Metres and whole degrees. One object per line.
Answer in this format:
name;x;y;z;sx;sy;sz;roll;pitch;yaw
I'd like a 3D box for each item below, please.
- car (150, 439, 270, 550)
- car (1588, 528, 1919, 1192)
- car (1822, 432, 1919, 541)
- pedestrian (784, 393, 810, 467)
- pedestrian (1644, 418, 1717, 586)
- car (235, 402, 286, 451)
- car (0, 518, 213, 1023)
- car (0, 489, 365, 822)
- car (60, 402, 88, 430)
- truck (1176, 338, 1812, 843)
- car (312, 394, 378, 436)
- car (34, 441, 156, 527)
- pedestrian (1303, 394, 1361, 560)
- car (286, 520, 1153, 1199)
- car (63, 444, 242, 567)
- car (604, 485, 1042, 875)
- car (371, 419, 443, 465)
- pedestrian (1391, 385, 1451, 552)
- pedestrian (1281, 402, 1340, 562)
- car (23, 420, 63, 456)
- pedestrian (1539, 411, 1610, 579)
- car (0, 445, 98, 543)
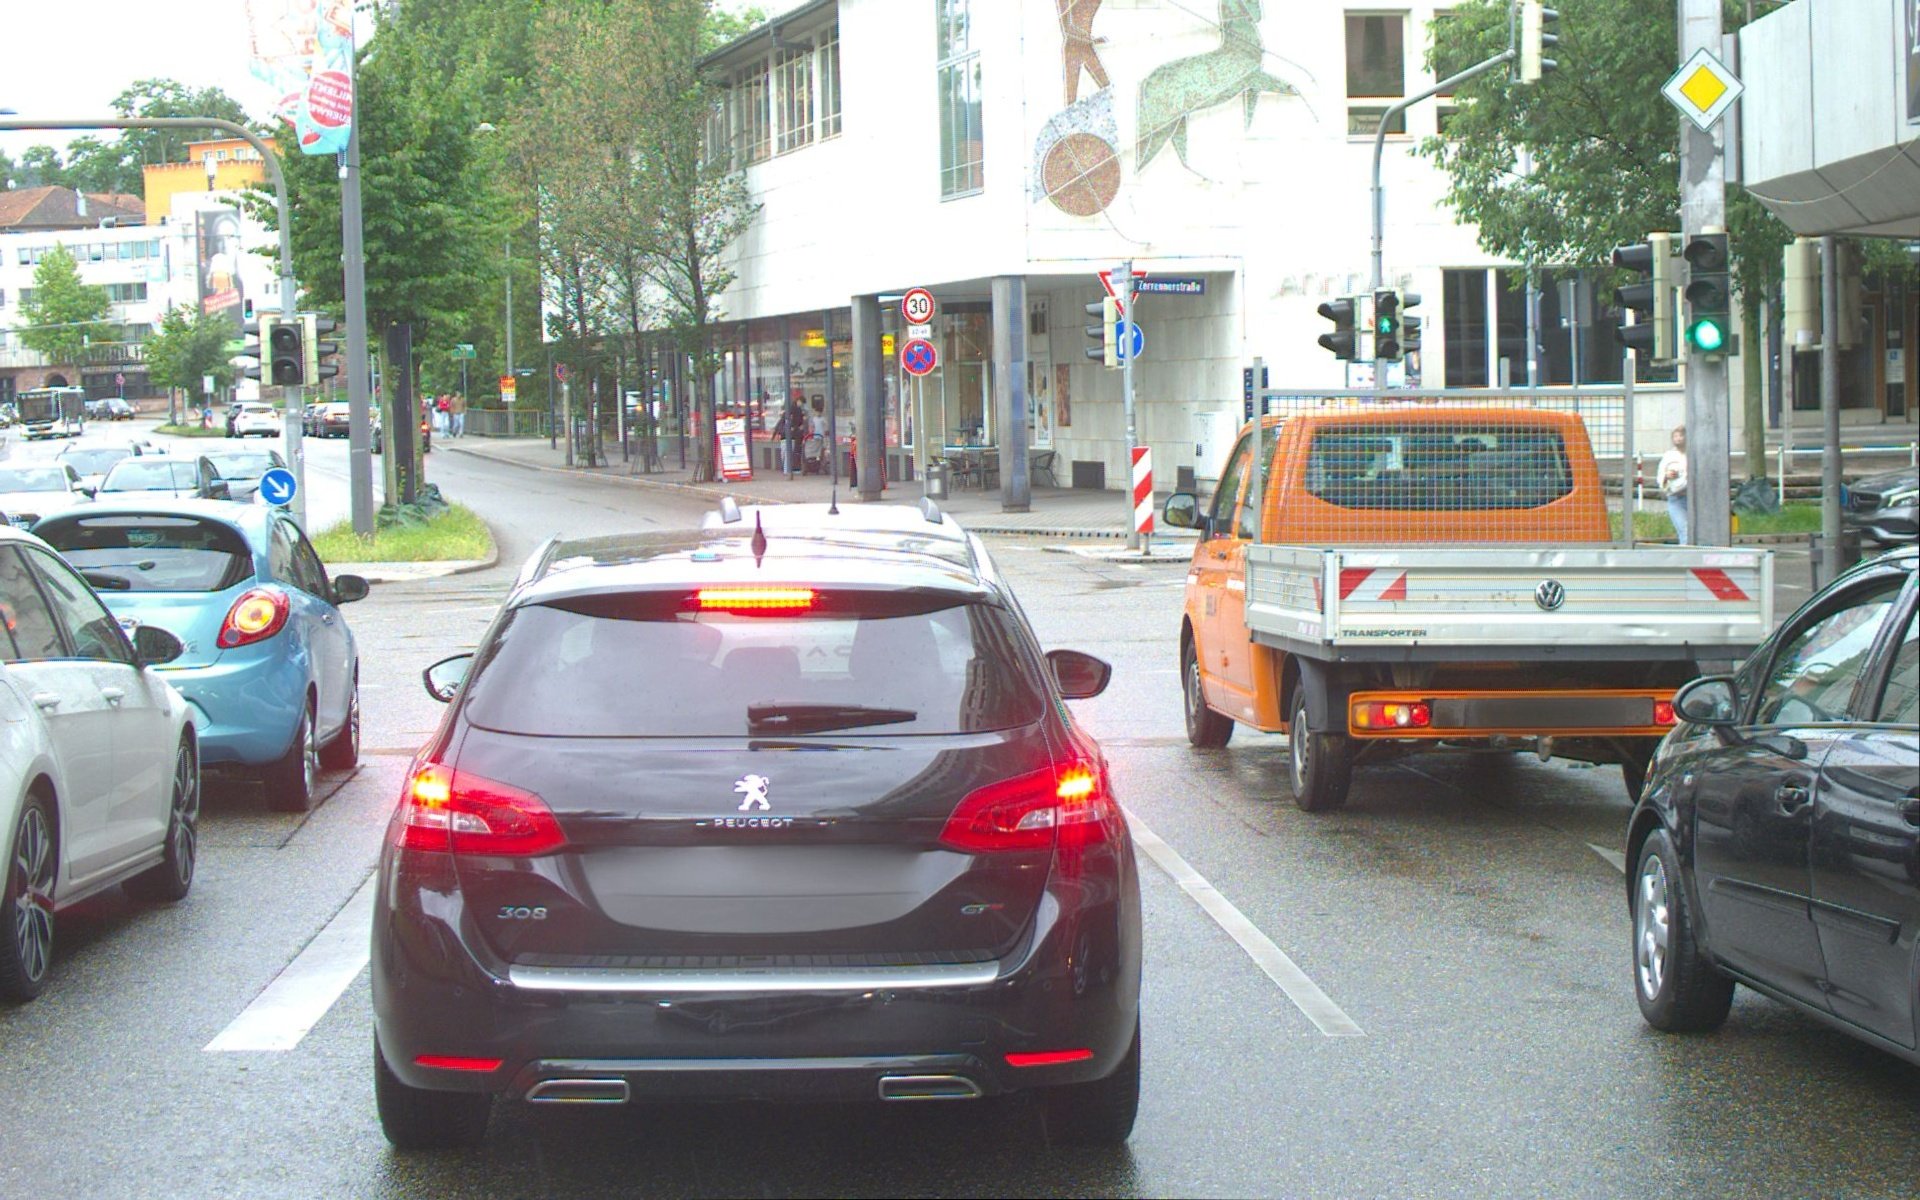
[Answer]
car;-11.892;-1.648;54.699;1.744;1.634;4.001;1;0;-11
car;2.853;0.558;8.649;1.616;1.424;3.843;0;2;-3
car;12.135;-1.304;40.257;3.688;1.208;1.835;1;0;4
pedestrian;-3.930;-4.093;82.771;0.468;1.742;0.541;1;0;-21
pedestrian;7.207;-0.975;34.409;0.637;1.653;0.733;0;0;6
car;-29.714;-7.341;145.970;1.705;1.875;4.001;1;0;-18
car;-3.723;0.452;11.462;1.777;1.424;3.843;0;2;-2
car;-4.003;0.201;17.504;1.632;1.481;3.610;0;2;-5
car;-62.849;-13.033;243.861;1.705;1.780;4.001;1;0;-18
truck;2.463;-0.138;17.347;2.177;2.165;5.021;1;2;-3
car;-25.312;-7.591;141.385;1.724;1.485;4.734;1;0;-22
car;-15.325;-2.074;61.037;1.632;1.481;3.611;0;2;-7
pedestrian;4.283;-1.407;39.575;0.637;1.891;0.733;0;0;6
car;-0.467;0.527;8.989;1.778;1.424;3.842;1;2;1
car;-11.055;-1.259;47.306;1.744;1.574;4.000;1;0;-4
car;-0.560;0.251;15.296;1.696;1.481;3.794;1;2;-1
car;-18.903;-5.415;117.378;1.787;1.449;4.508;-4;4;-17
pedestrian;5.286;-1.500;39.446;0.637;1.891;0.733;0;0;6
pedestrian;3.886;-1.299;38.114;0.637;1.752;0.733;0;0;6
car;-55.609;-9.813;208.419;1.993;2.007;4.001;1;0;-20
pedestrian;6.158;-1.046;34.500;0.637;1.653;0.733;0;0;6
car;-14.640;-1.689;54.087;1.632;1.481;3.611;0;2;-7
